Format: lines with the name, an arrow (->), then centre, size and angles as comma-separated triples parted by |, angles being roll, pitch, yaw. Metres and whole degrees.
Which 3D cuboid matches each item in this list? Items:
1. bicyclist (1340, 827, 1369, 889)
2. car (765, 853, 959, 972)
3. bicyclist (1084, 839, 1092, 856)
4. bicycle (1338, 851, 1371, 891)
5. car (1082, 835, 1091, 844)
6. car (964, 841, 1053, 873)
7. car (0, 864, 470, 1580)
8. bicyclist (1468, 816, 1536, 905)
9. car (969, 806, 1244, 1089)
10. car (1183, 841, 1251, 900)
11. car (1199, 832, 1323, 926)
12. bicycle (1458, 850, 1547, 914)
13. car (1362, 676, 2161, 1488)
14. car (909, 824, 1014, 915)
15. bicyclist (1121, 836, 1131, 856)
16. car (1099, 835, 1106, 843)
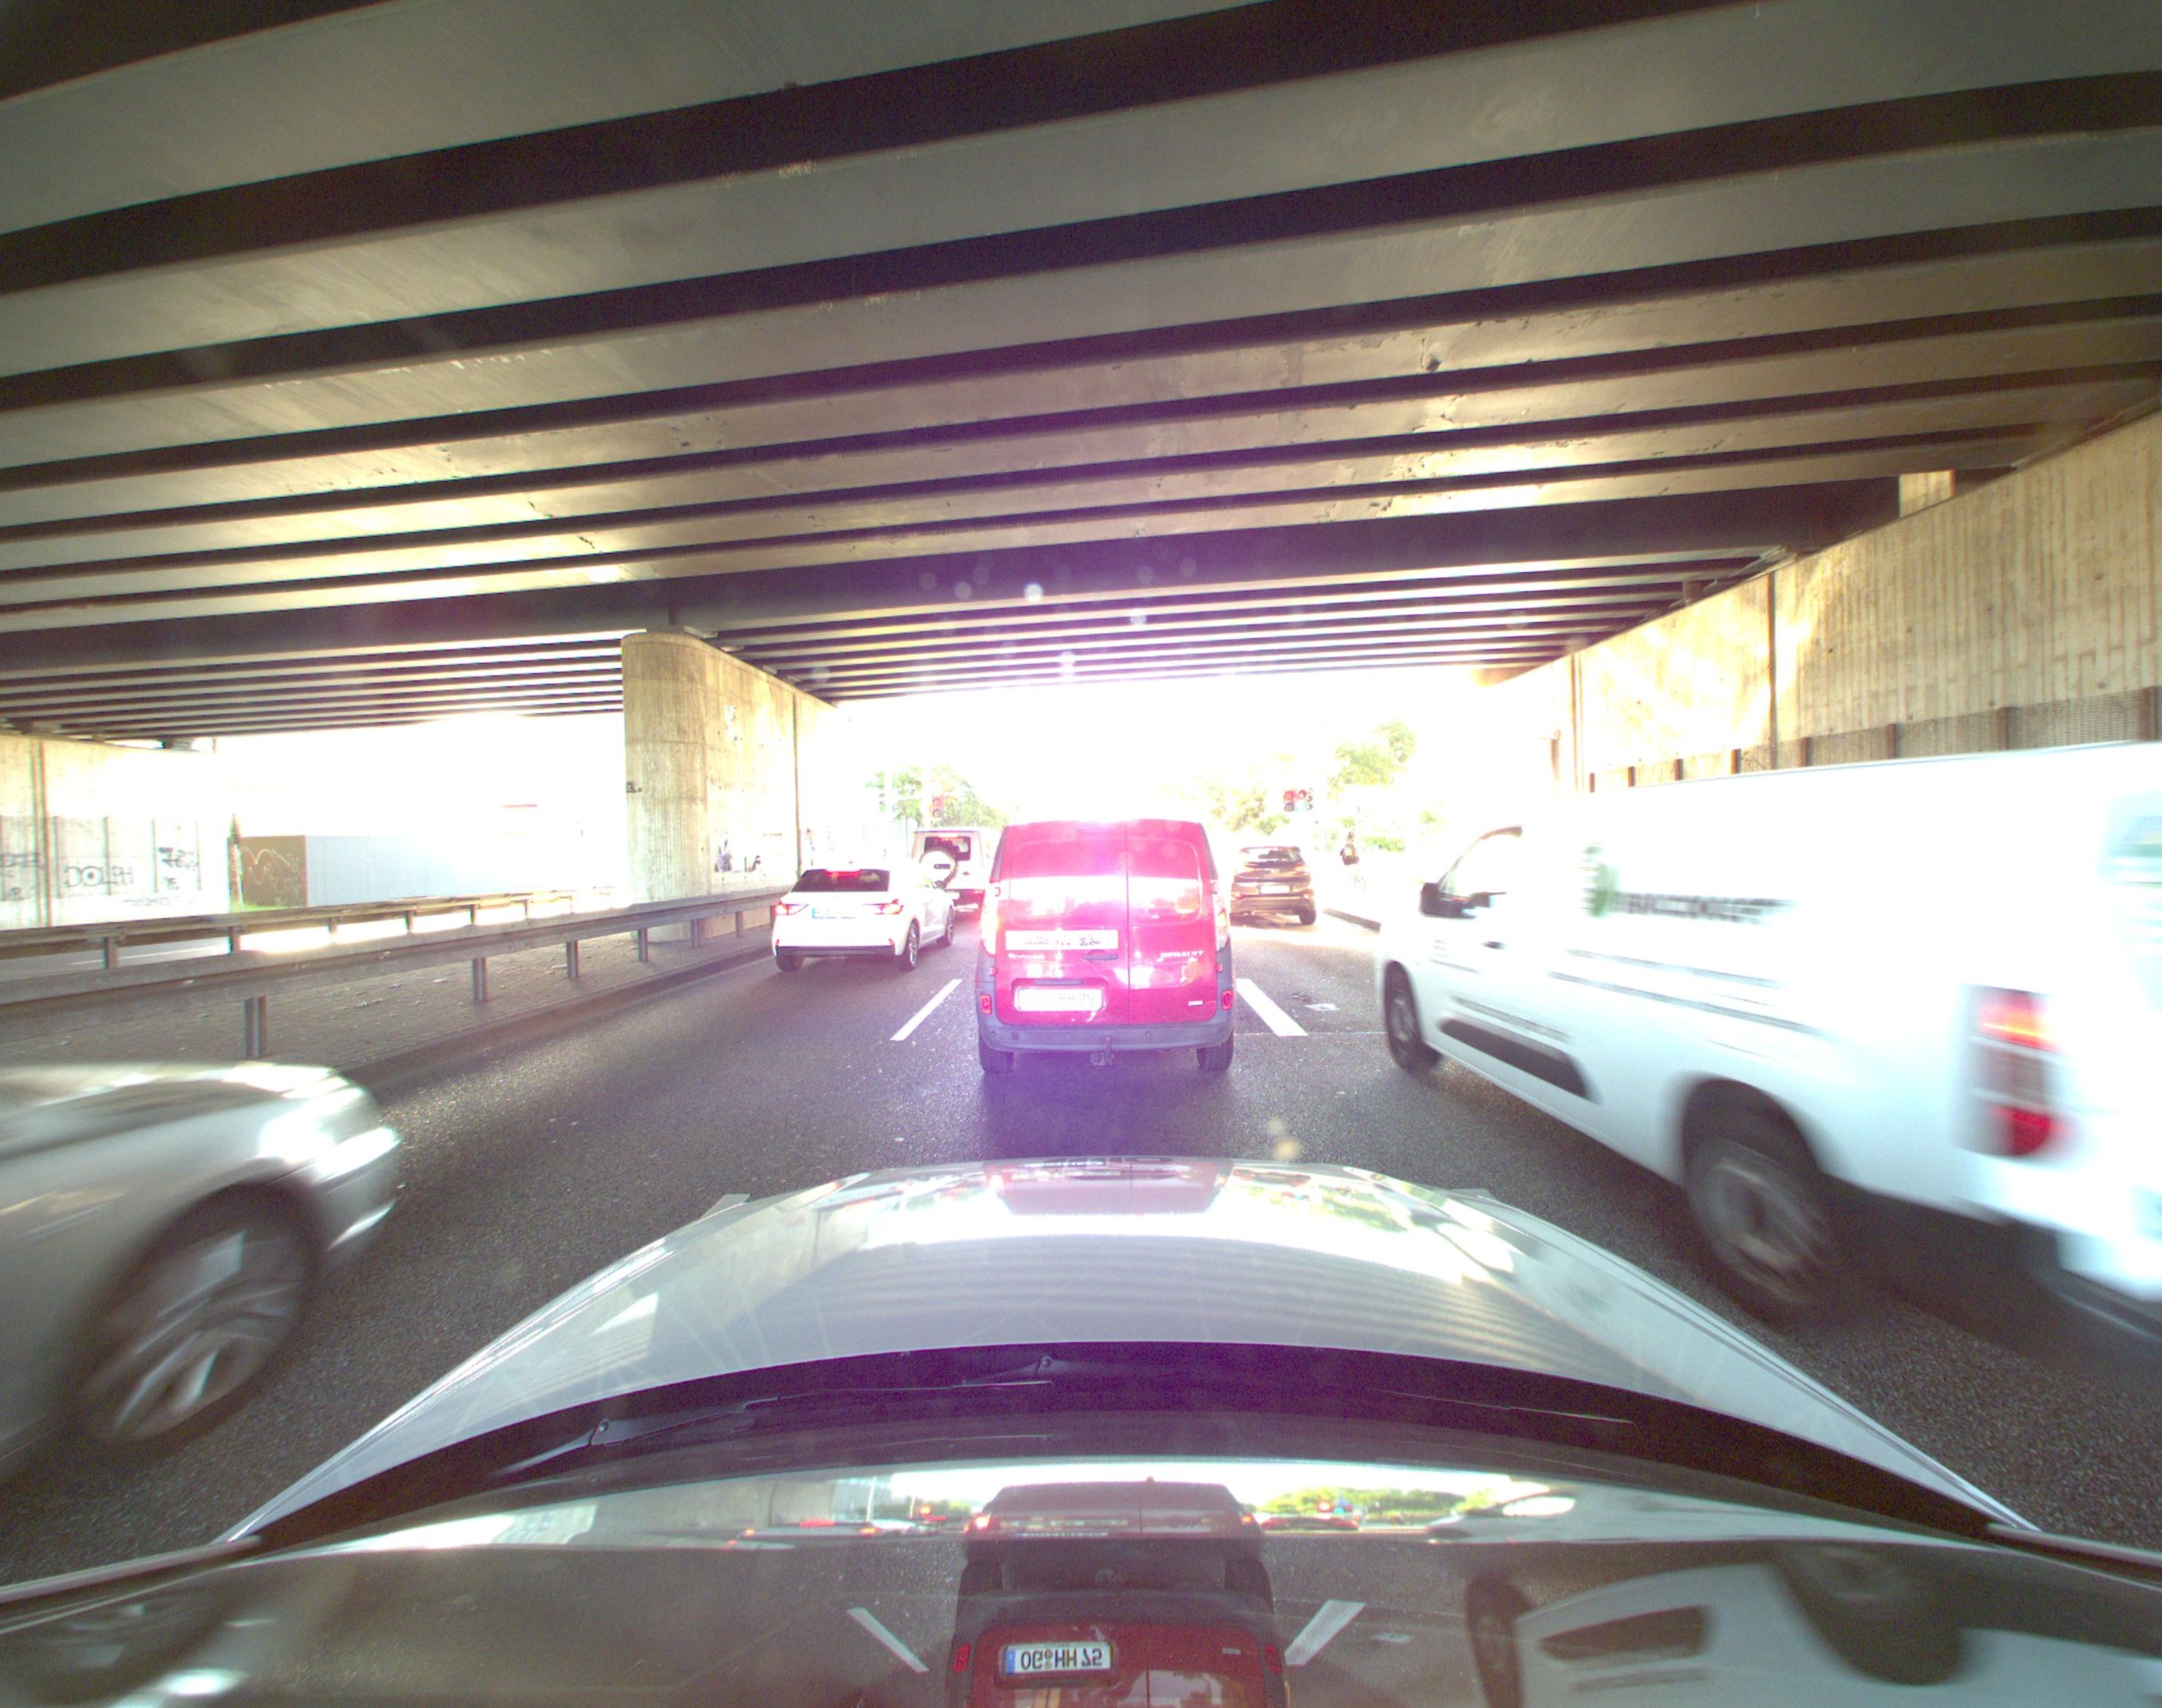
bicyclist -> 7.250, 0.113, 21.611 | 0.673, 1.629, 0.646 | 0, -1, 12
car -> -2.924, 0.707, 11.715 | 1.686, 1.410, 3.814 | 0, 0, 1
bicyclist -> 0.553, -0.540, 64.650 | 0.651, 1.329, 0.602 | 0, -1, -2
bicycle -> 7.244, 0.433, 21.617 | 0.672, 1.024, 1.534 | 0, 0, 12
car -> 1.300, -3.349, 185.448 | 1.986, 2.014, 4.001 | 0, 0, 2
car -> -3.693, 0.144, 41.862 | 4.331, 1.607, 2.000 | 0, 0, 1
car -> -3.058, 0.776, 0.769 | 1.692, 1.455, 4.396 | 0, 0, -1
bicyclist -> 7.604, 0.118, 14.745 | 0.693, 1.524, 0.910 | -4, -1, 2
car -> 0.224, 0.584, 7.120 | 1.712, 1.764, 4.002 | 0, 0, 2
car -> 3.830, 0.417, 23.488 | 1.644, 1.552, 3.869 | 0, 1, 5
car -> 3.541, 0.444, 16.719 | 1.771, 1.655, 3.992 | -2, 0, 2
bicycle -> 7.613, 0.472, 14.794 | 0.699, 1.057, 1.761 | -3, 0, 2
car -> 3.017, 0.481, 3.998 | 1.807, 1.833, 4.300 | 0, 1, 0
car -> -2.676, 0.322, 19.086 | 1.807, 1.904, 3.814 | 0, 0, 1
bicyclist -> 3.536, -0.616, 63.959 | 0.752, 1.542, 0.697 | -1, 0, 2
car -> 5.908, -4.042, 220.889 | 1.986, 2.014, 4.001 | 0, 0, 2
